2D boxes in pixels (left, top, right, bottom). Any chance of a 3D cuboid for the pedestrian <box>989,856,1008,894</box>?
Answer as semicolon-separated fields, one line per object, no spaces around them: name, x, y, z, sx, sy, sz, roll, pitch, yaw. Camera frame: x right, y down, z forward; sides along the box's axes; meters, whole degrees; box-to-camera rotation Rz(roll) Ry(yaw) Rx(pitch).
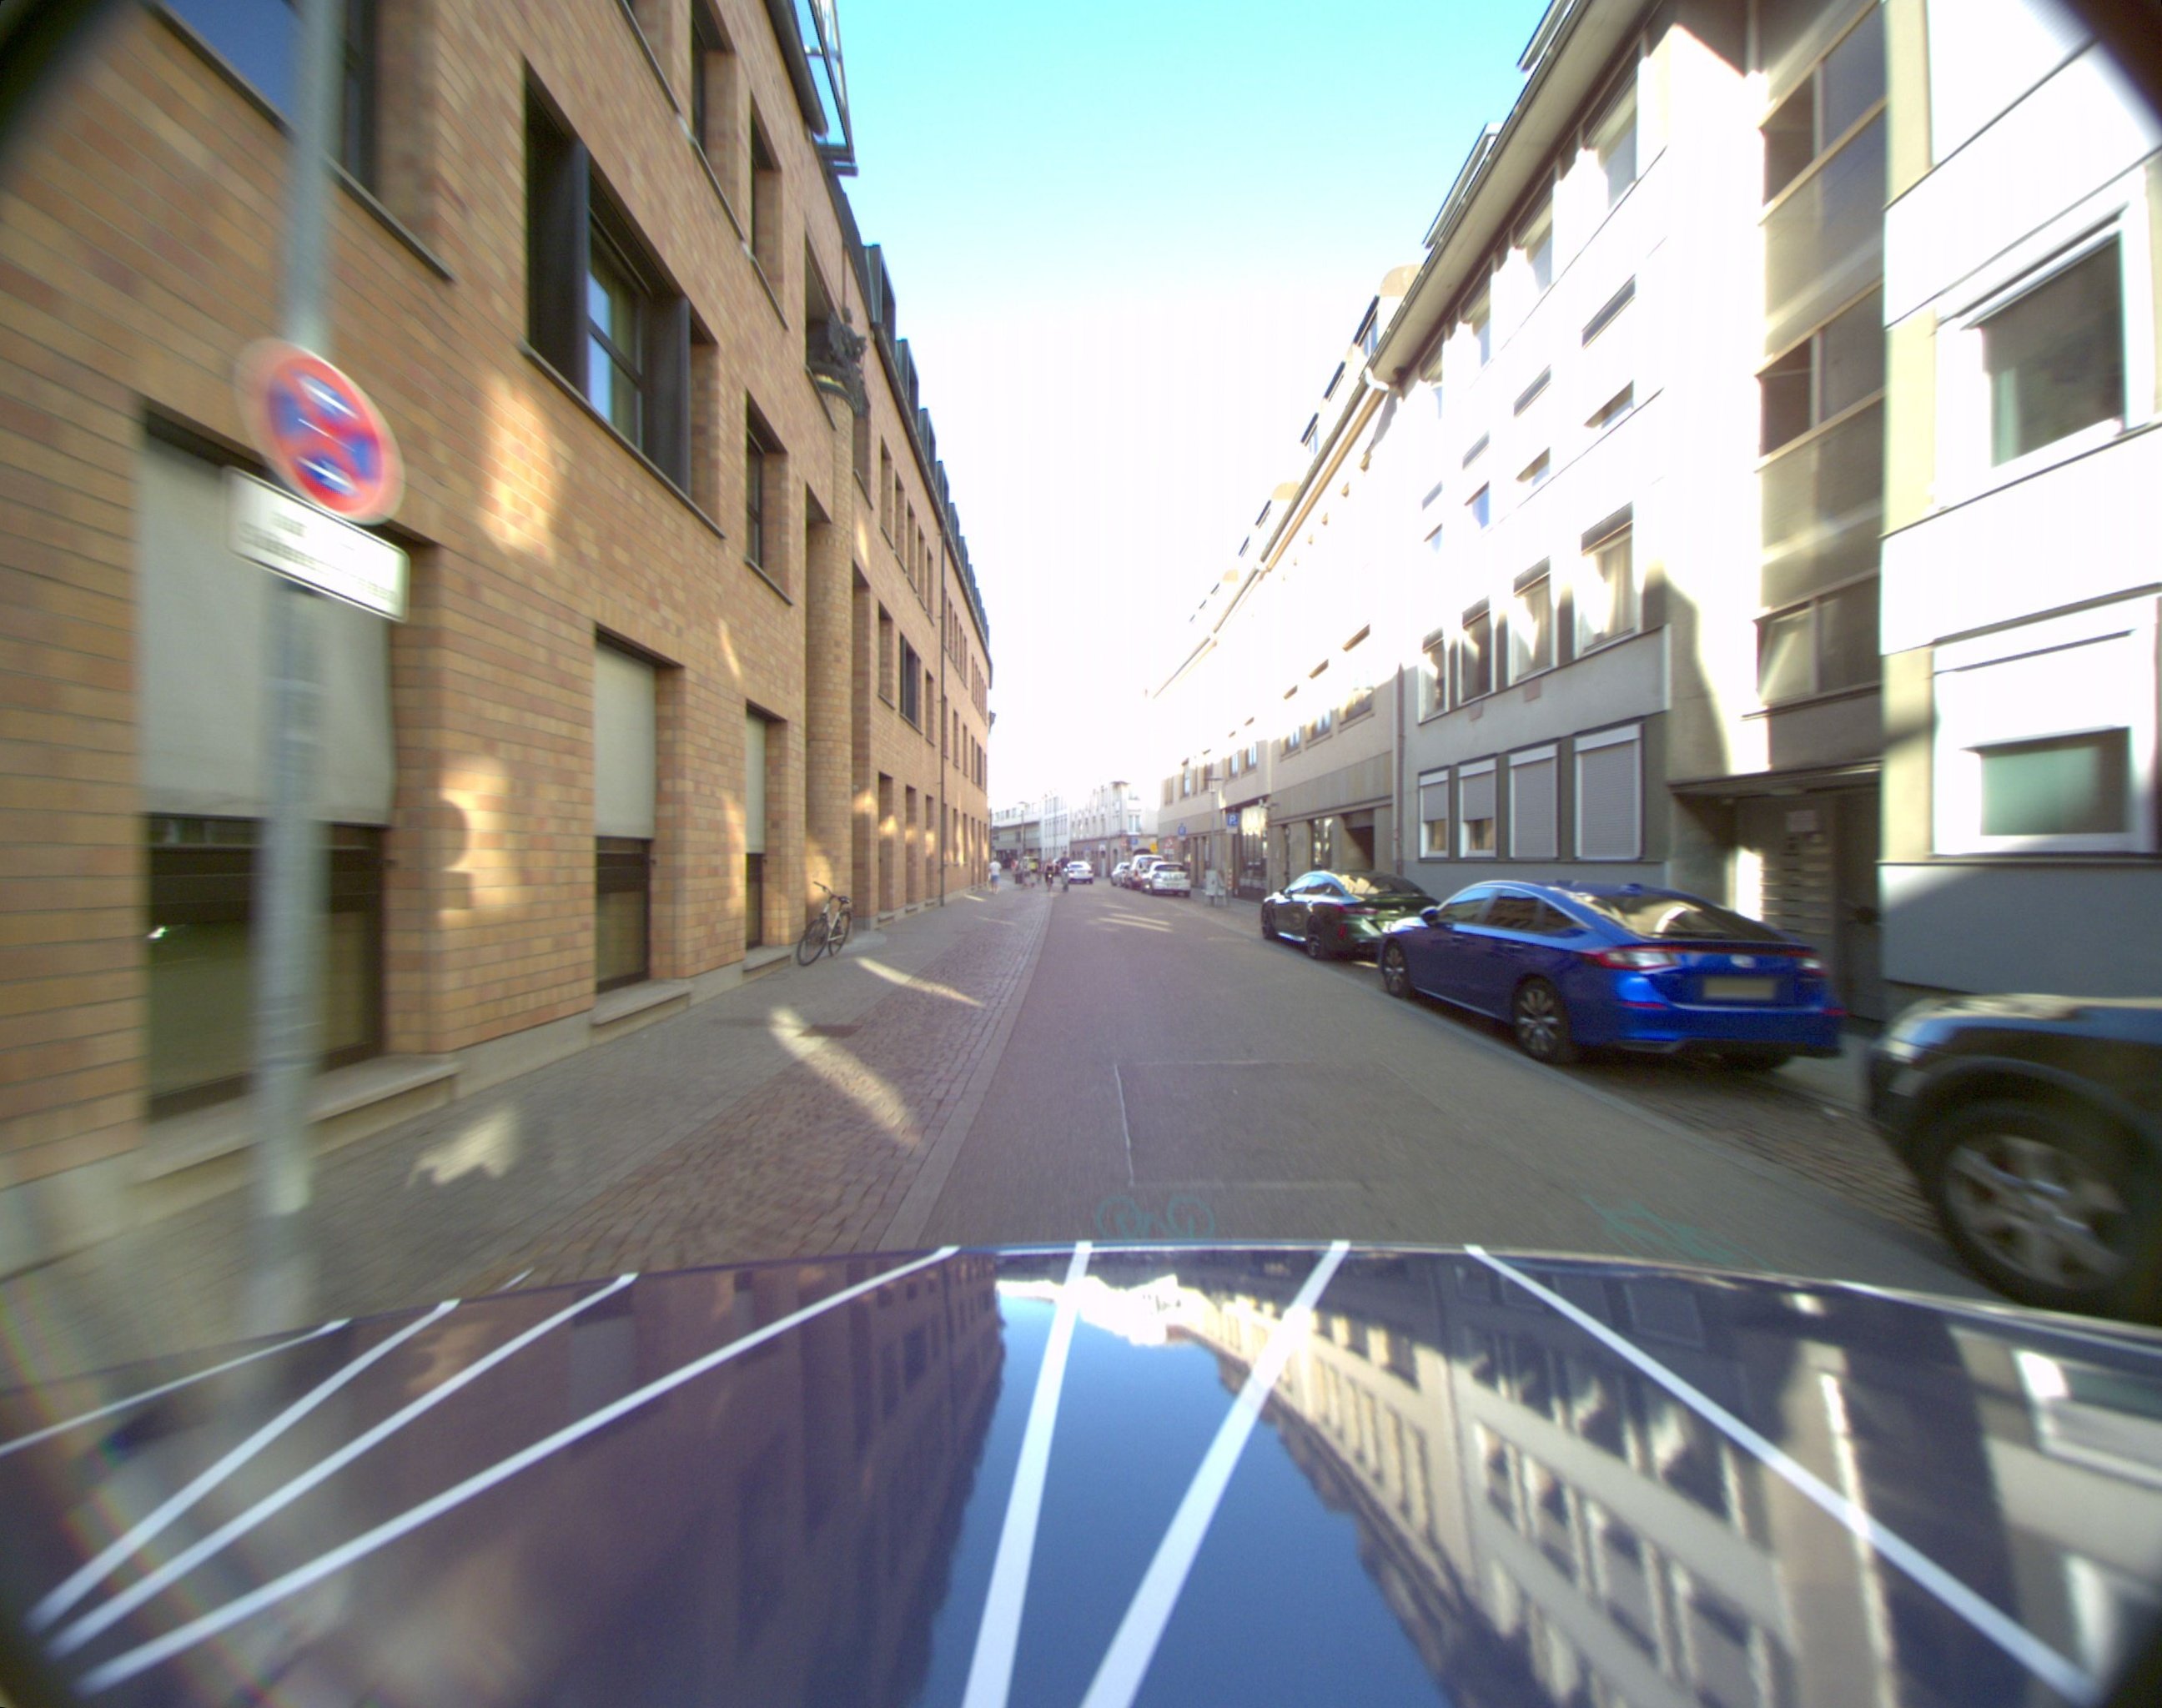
pedestrian;-3.829;0.946;35.139;0.762;1.706;0.821;2;0;-2

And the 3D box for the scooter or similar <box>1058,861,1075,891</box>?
scooter or similar;-0.686;1.036;36.401;0.524;1.388;1.554;0;0;-12

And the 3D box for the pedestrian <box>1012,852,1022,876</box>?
pedestrian;-5.400;0.833;64.075;0.716;2.002;0.698;0;1;-13

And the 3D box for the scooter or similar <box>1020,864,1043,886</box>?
scooter or similar;-2.884;1.233;44.601;0.537;1.228;1.422;-1;0;36

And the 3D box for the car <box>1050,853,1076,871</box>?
car;-1.808;0.791;76.537;1.890;1.694;3.996;-4;1;-11

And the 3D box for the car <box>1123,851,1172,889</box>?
car;3.472;0.819;40.512;1.905;1.847;4.732;1;0;-4

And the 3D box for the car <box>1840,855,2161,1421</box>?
car;4.101;0.837;0.906;1.894;1.666;4.554;0;0;1

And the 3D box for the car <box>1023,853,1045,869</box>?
car;-5.722;0.793;92.407;1.891;1.863;3.994;1;0;-16

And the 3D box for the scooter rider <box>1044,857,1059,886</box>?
scooter rider;-1.531;0.895;39.478;0.592;1.500;0.599;-2;1;-12

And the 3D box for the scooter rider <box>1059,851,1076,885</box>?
scooter rider;-0.642;0.659;36.344;0.648;1.584;0.599;-2;1;-12

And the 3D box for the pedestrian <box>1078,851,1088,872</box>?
pedestrian;0.196;0.695;70.587;0.716;2.002;0.698;0;1;-13

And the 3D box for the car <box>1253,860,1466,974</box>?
car;4.476;0.903;13.105;1.895;1.521;4.728;1;0;0

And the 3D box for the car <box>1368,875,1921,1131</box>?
car;4.430;1.020;7.041;1.895;1.521;4.339;0;0;0

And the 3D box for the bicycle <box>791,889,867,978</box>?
bicycle;-3.703;1.130;11.315;0.551;1.097;1.981;3;0;-4

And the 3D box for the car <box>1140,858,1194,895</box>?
car;3.830;0.981;34.375;1.674;1.513;3.774;2;0;-4

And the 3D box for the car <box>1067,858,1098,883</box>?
car;0.056;1.063;50.354;1.719;1.508;4.158;0;0;-5

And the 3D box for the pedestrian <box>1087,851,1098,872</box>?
pedestrian;1.052;0.688;70.727;0.938;2.002;0.698;0;1;-13

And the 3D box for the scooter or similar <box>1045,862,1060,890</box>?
scooter or similar;-1.483;1.123;39.394;0.550;1.388;1.554;0;0;-12

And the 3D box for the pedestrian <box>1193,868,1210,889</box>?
pedestrian;5.933;1.193;37.401;0.657;1.029;0.617;0;0;-8

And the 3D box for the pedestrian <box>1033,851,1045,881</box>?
pedestrian;-2.835;0.805;51.000;0.716;2.002;0.698;0;1;-13

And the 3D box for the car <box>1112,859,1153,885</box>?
car;3.069;1.048;46.315;1.743;1.483;3.797;1;0;-8
